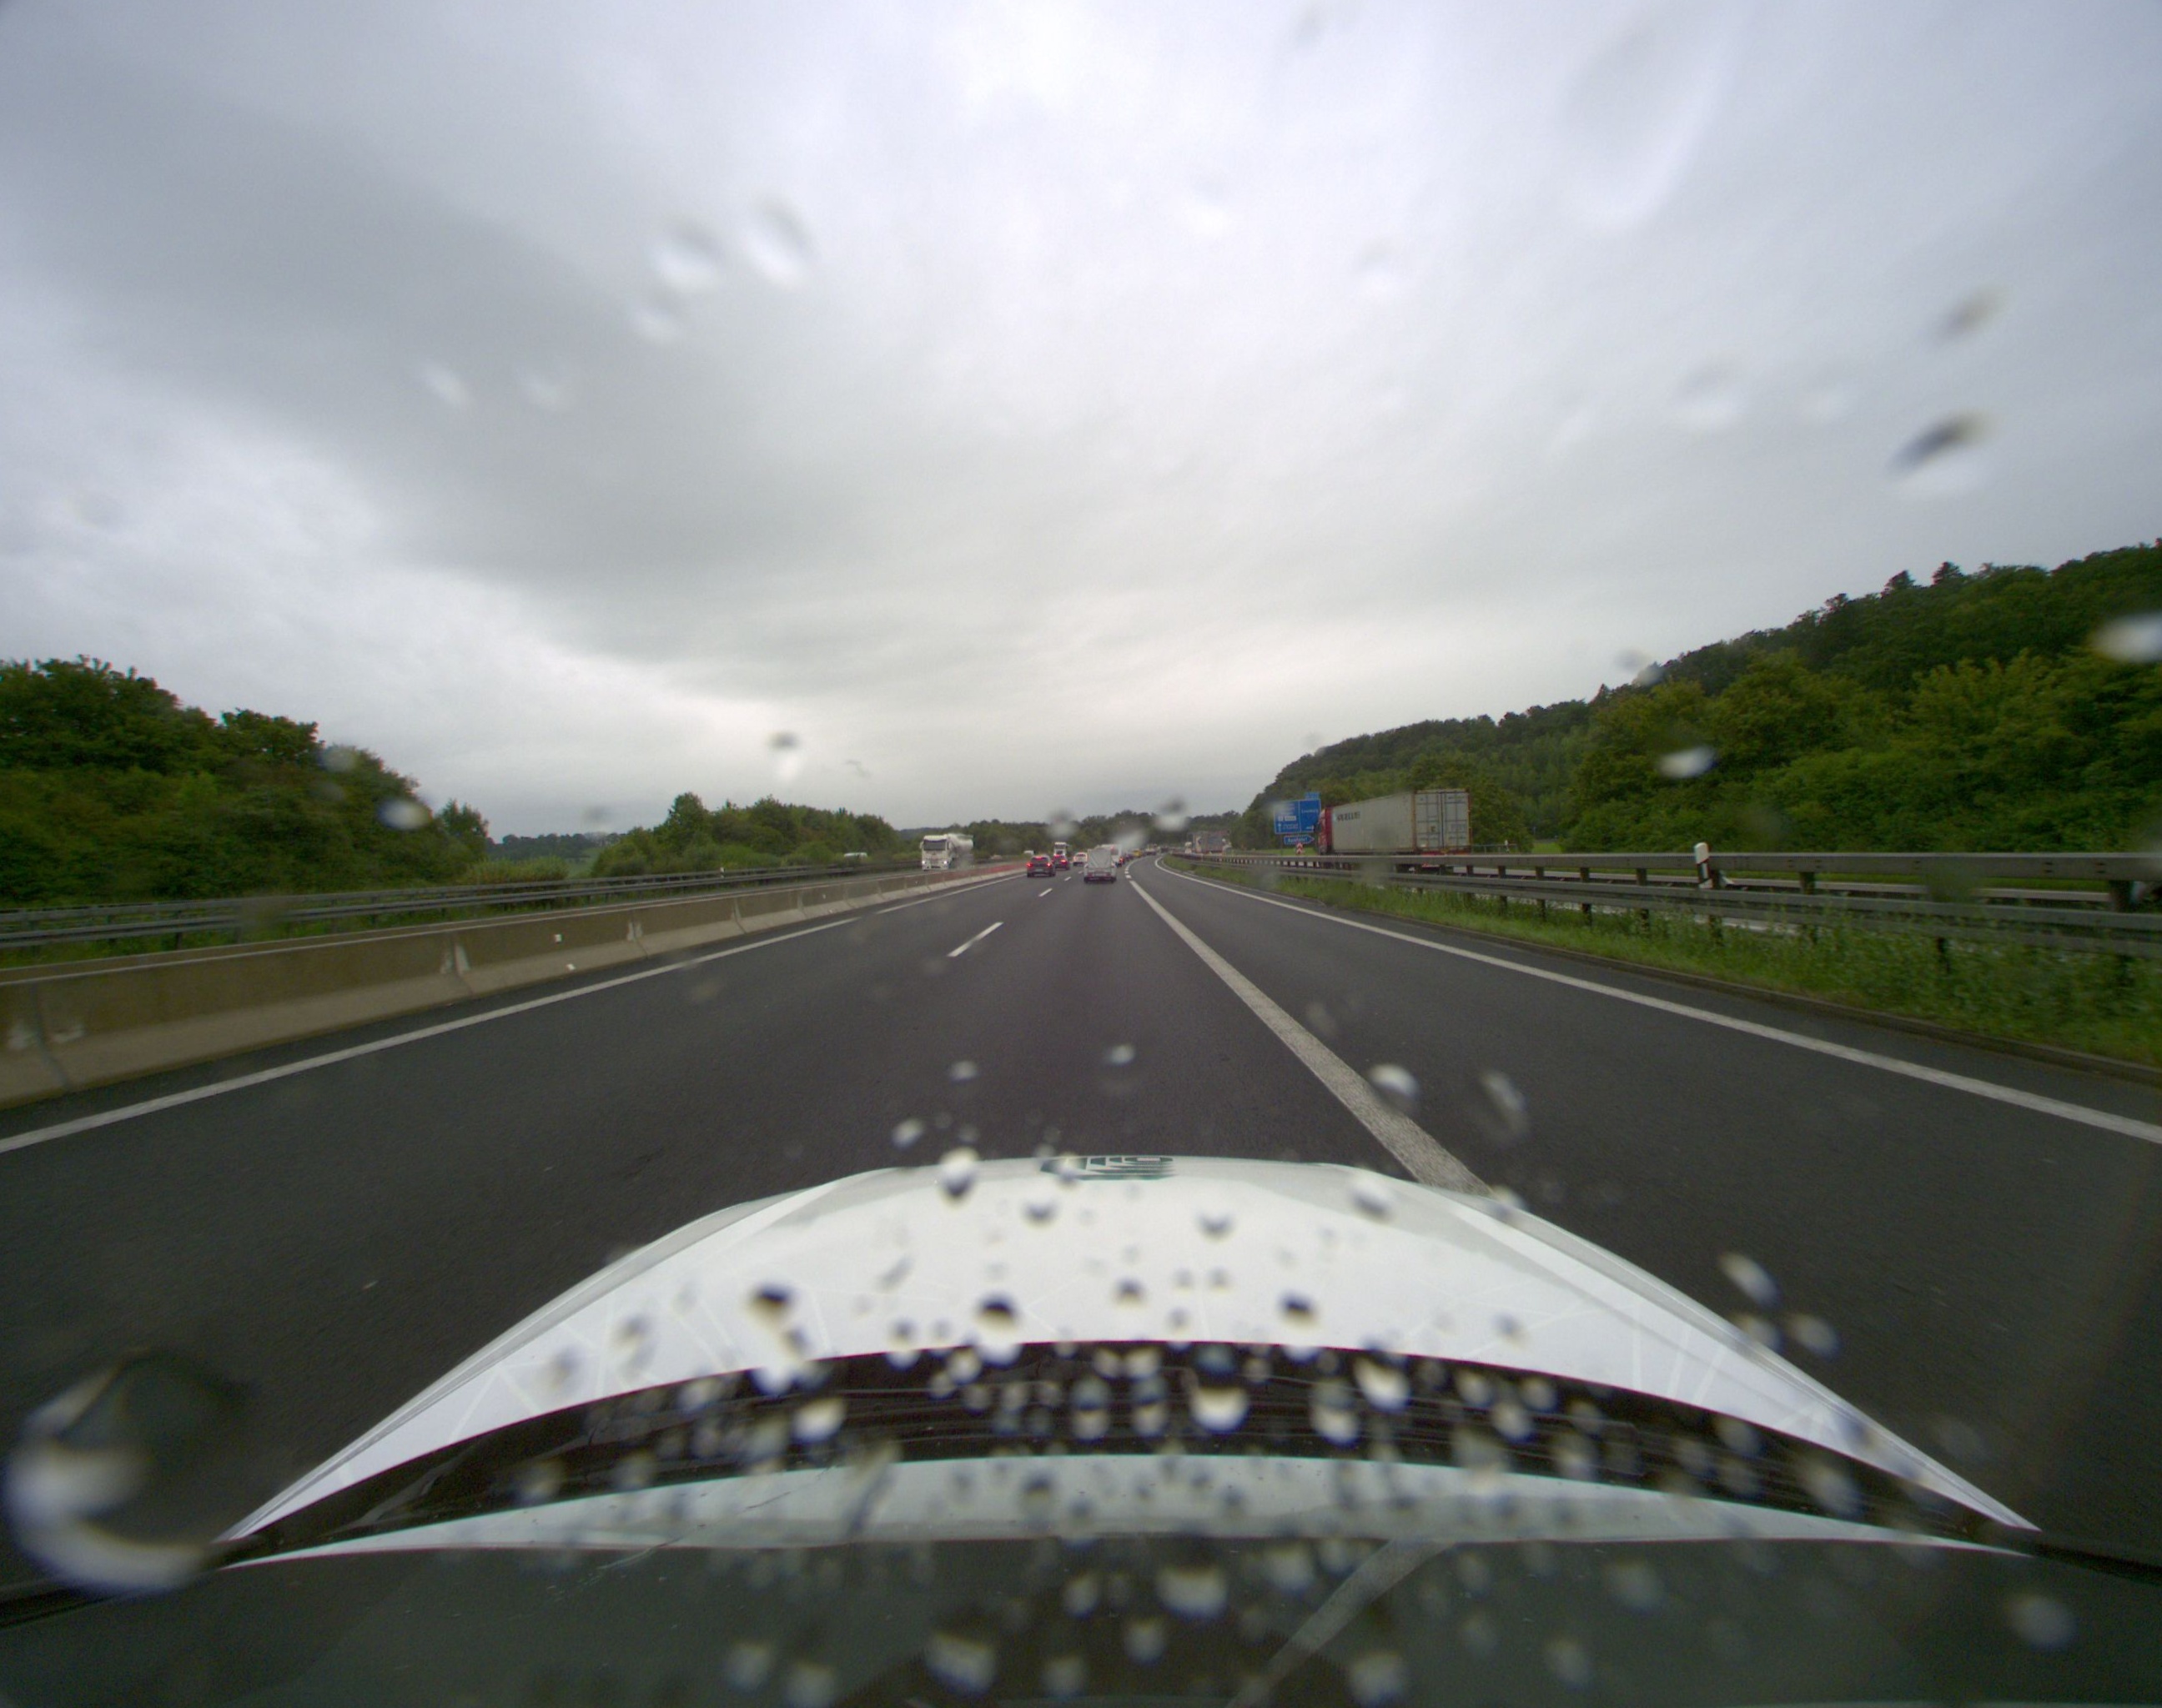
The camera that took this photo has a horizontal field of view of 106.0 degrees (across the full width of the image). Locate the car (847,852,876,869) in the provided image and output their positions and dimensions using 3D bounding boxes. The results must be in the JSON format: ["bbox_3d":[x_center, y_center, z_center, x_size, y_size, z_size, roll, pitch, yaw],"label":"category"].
[{"bbox_3d":[-26.936,0.768,100.053,1.866,2.014,5.303,-1,0,3],"label":"car"}]

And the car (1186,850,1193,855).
[{"bbox_3d":[30.521,-0.345,229.539,1.666,1.456,4.011,-1,0,9],"label":"car"}]

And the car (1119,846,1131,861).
[{"bbox_3d":[6.158,-0.057,114.324,1.669,2.067,4.002,-1,0,2],"label":"car"}]

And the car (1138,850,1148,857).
[{"bbox_3d":[15.438,-0.096,203.124,2.025,1.683,4.012,-1,0,10],"label":"car"}]

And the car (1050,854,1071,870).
[{"bbox_3d":[-1.920,0.754,77.526,1.758,1.456,4.002,-1,0,2],"label":"car"}]

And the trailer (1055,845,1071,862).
[{"bbox_3d":[-4.057,-0.046,184.154,2.892,3.749,8.931,-1,0,2],"label":"trailer"}]

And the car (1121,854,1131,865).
[{"bbox_3d":[7.616,0.901,137.433,1.668,1.812,4.004,-1,0,4],"label":"car"}]

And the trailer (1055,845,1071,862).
[{"bbox_3d":[-4.057,-0.046,184.154,2.892,3.749,8.931,-1,0,2],"label":"trailer"}]

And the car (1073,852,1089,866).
[{"bbox_3d":[-0.018,0.649,102.141,1.768,1.640,4.046,-1,0,3],"label":"car"}]

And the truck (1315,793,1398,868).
[{"bbox_3d":[15.460,-1.229,46.236,2.607,3.884,6.393,-1,0,1],"label":"truck"}]

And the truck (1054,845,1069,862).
[{"bbox_3d":[-4.211,-0.064,179.834,2.876,3.749,5.947,-1,0,2],"label":"truck"}]

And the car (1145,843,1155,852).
[{"bbox_3d":[19.716,-1.762,232.734,2.503,2.574,5.321,-1,0,6],"label":"car"}]

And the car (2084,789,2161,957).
[{"bbox_3d":[11.209,0.152,6.074,1.763,1.610,4.644,-1,0,1],"label":"car"}]

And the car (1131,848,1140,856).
[{"bbox_3d":[12.465,-0.511,184.843,1.666,1.812,4.010,-1,0,9],"label":"car"}]

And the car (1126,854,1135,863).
[{"bbox_3d":[9.613,0.840,158.657,1.668,1.812,4.004,-1,0,4],"label":"car"}]

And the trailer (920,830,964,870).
[{"bbox_3d":[-13.585,-0.374,80.188,2.624,3.715,6.499,-1,0,4],"label":"trailer"}]

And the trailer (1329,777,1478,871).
[{"bbox_3d":[15.345,-1.229,40.187,2.595,3.894,12.493,-1,0,1],"label":"trailer"}]

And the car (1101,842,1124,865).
[{"bbox_3d":[3.762,-0.050,95.287,2.497,2.585,5.705,-1,0,4],"label":"car"}]

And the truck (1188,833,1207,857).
[{"bbox_3d":[24.074,-1.798,168.679,3.200,4.666,13.051,-1,0,5],"label":"truck"}]

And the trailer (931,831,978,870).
[{"bbox_3d":[-13.184,-0.338,86.076,2.625,3.736,10.820,-1,0,3],"label":"trailer"}]

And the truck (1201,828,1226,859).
[{"bbox_3d":[20.844,-1.561,128.649,3.198,4.666,13.058,-1,0,7],"label":"truck"}]

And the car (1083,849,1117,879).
[{"bbox_3d":[1.171,0.575,47.718,1.811,1.616,4.781,-1,0,3],"label":"car"}]

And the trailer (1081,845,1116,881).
[{"bbox_3d":[0.993,0.487,44.207,1.668,1.812,4.004,-1,0,4],"label":"trailer"}]

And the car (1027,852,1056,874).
[{"bbox_3d":[-2.718,0.611,56.527,1.670,1.456,4.001,-1,0,1],"label":"car"}]
